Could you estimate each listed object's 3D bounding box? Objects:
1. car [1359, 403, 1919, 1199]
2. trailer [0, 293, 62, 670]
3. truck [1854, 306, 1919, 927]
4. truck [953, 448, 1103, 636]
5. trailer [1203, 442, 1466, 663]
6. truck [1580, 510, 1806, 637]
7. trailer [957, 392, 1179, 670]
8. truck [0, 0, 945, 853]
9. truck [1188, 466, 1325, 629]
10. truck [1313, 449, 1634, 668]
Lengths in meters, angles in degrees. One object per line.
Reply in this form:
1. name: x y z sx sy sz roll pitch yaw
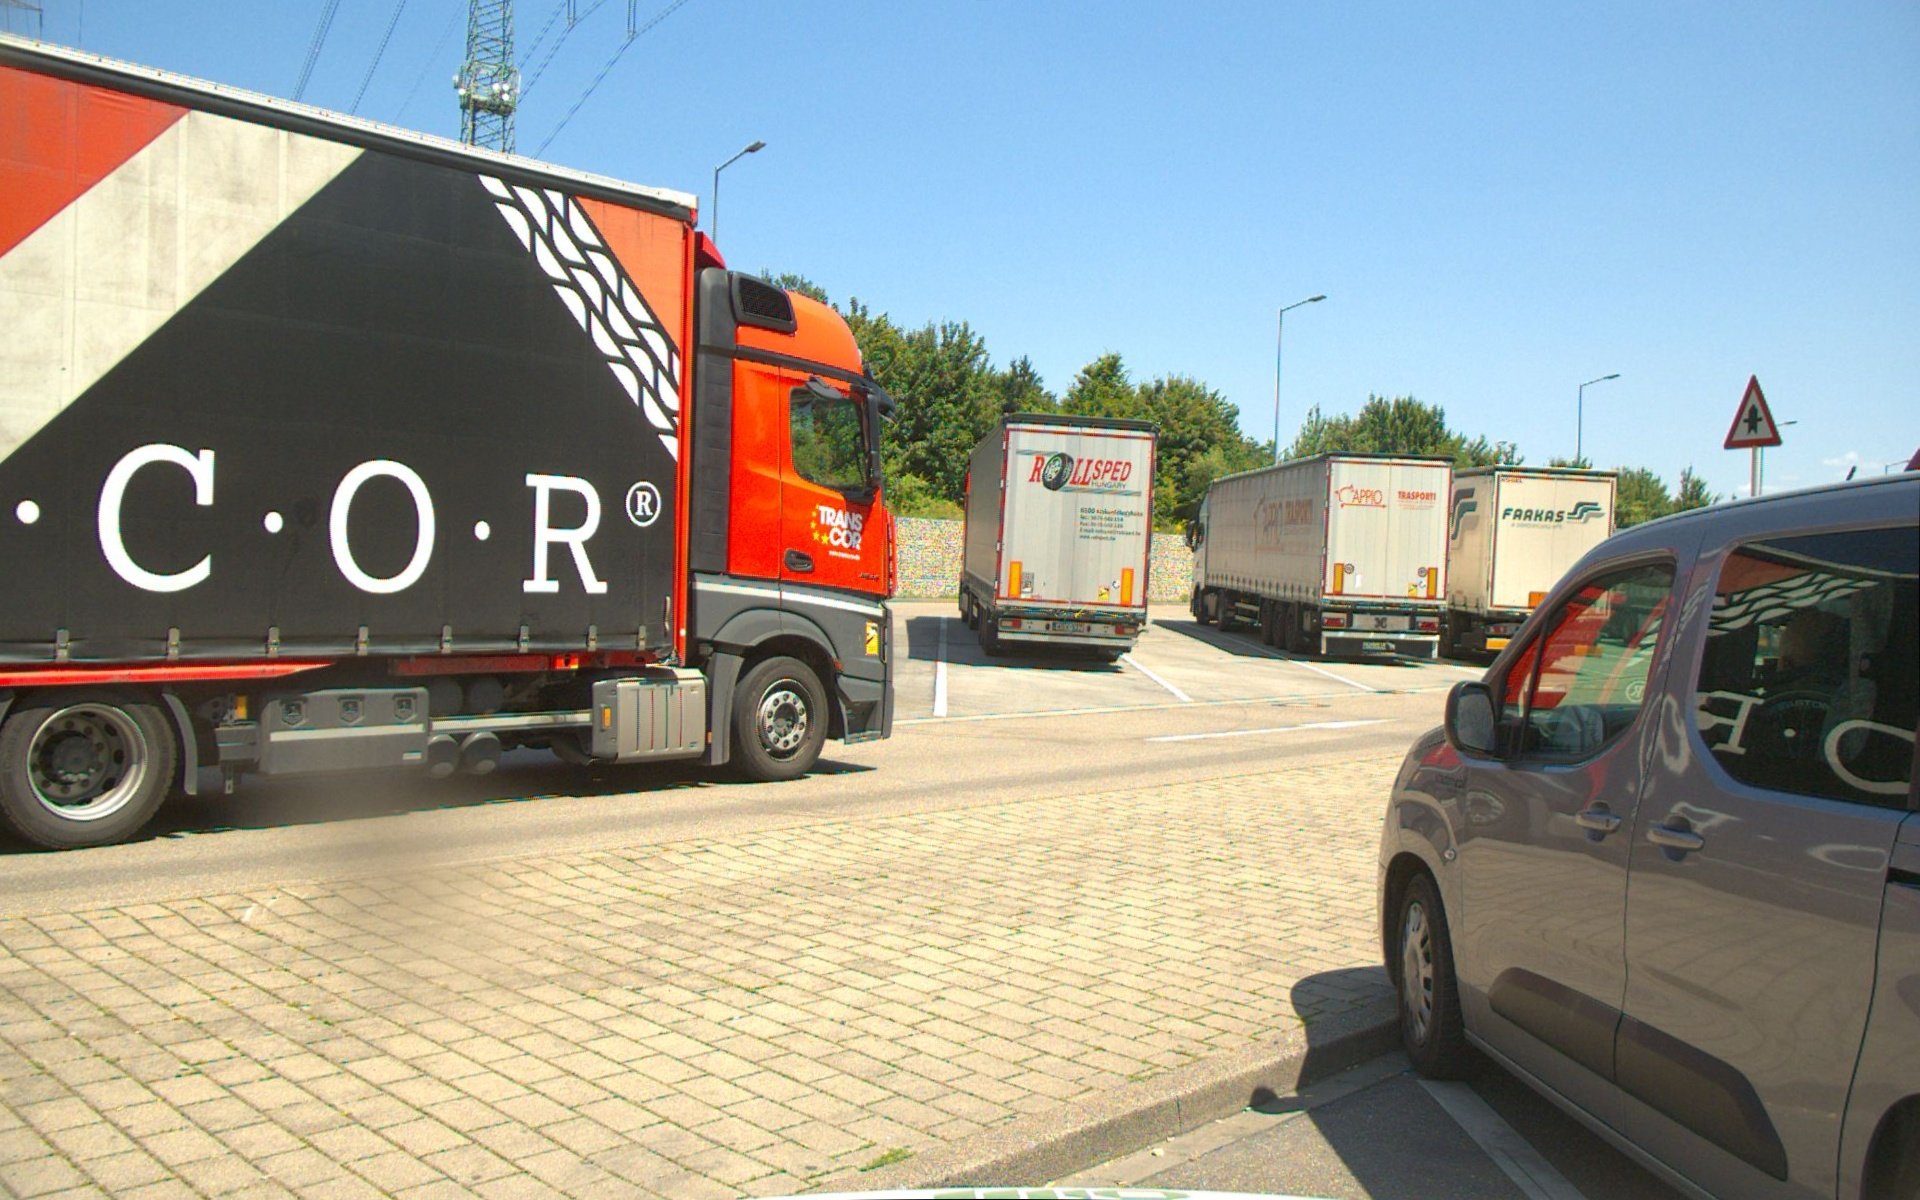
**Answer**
1. car: 2.435 0.550 3.826 1.790 1.784 3.997 1 1 -4
2. trailer: -12.409 -1.314 15.456 2.689 4.337 9.733 1 1 0
3. truck: 4.981 0.122 4.947 1.952 2.669 5.305 1 1 3
4. truck: 1.465 -1.386 39.454 2.965 3.997 6.845 2 2 -2
5. trailer: 8.204 -1.057 38.620 2.818 4.196 13.569 1 1 -1
6. truck: 21.956 -0.819 50.196 2.963 3.497 8.529 1 1 -1
7. trailer: 1.698 -1.321 32.688 3.008 4.301 12.805 2 2 -2
8. truck: -4.627 -0.908 9.982 2.646 4.199 10.540 1 1 42
9. truck: 8.071 -1.419 45.619 2.701 4.196 5.283 1 1 -1
10. truck: 11.716 -0.965 40.004 2.846 4.195 14.525 3 1 -1
